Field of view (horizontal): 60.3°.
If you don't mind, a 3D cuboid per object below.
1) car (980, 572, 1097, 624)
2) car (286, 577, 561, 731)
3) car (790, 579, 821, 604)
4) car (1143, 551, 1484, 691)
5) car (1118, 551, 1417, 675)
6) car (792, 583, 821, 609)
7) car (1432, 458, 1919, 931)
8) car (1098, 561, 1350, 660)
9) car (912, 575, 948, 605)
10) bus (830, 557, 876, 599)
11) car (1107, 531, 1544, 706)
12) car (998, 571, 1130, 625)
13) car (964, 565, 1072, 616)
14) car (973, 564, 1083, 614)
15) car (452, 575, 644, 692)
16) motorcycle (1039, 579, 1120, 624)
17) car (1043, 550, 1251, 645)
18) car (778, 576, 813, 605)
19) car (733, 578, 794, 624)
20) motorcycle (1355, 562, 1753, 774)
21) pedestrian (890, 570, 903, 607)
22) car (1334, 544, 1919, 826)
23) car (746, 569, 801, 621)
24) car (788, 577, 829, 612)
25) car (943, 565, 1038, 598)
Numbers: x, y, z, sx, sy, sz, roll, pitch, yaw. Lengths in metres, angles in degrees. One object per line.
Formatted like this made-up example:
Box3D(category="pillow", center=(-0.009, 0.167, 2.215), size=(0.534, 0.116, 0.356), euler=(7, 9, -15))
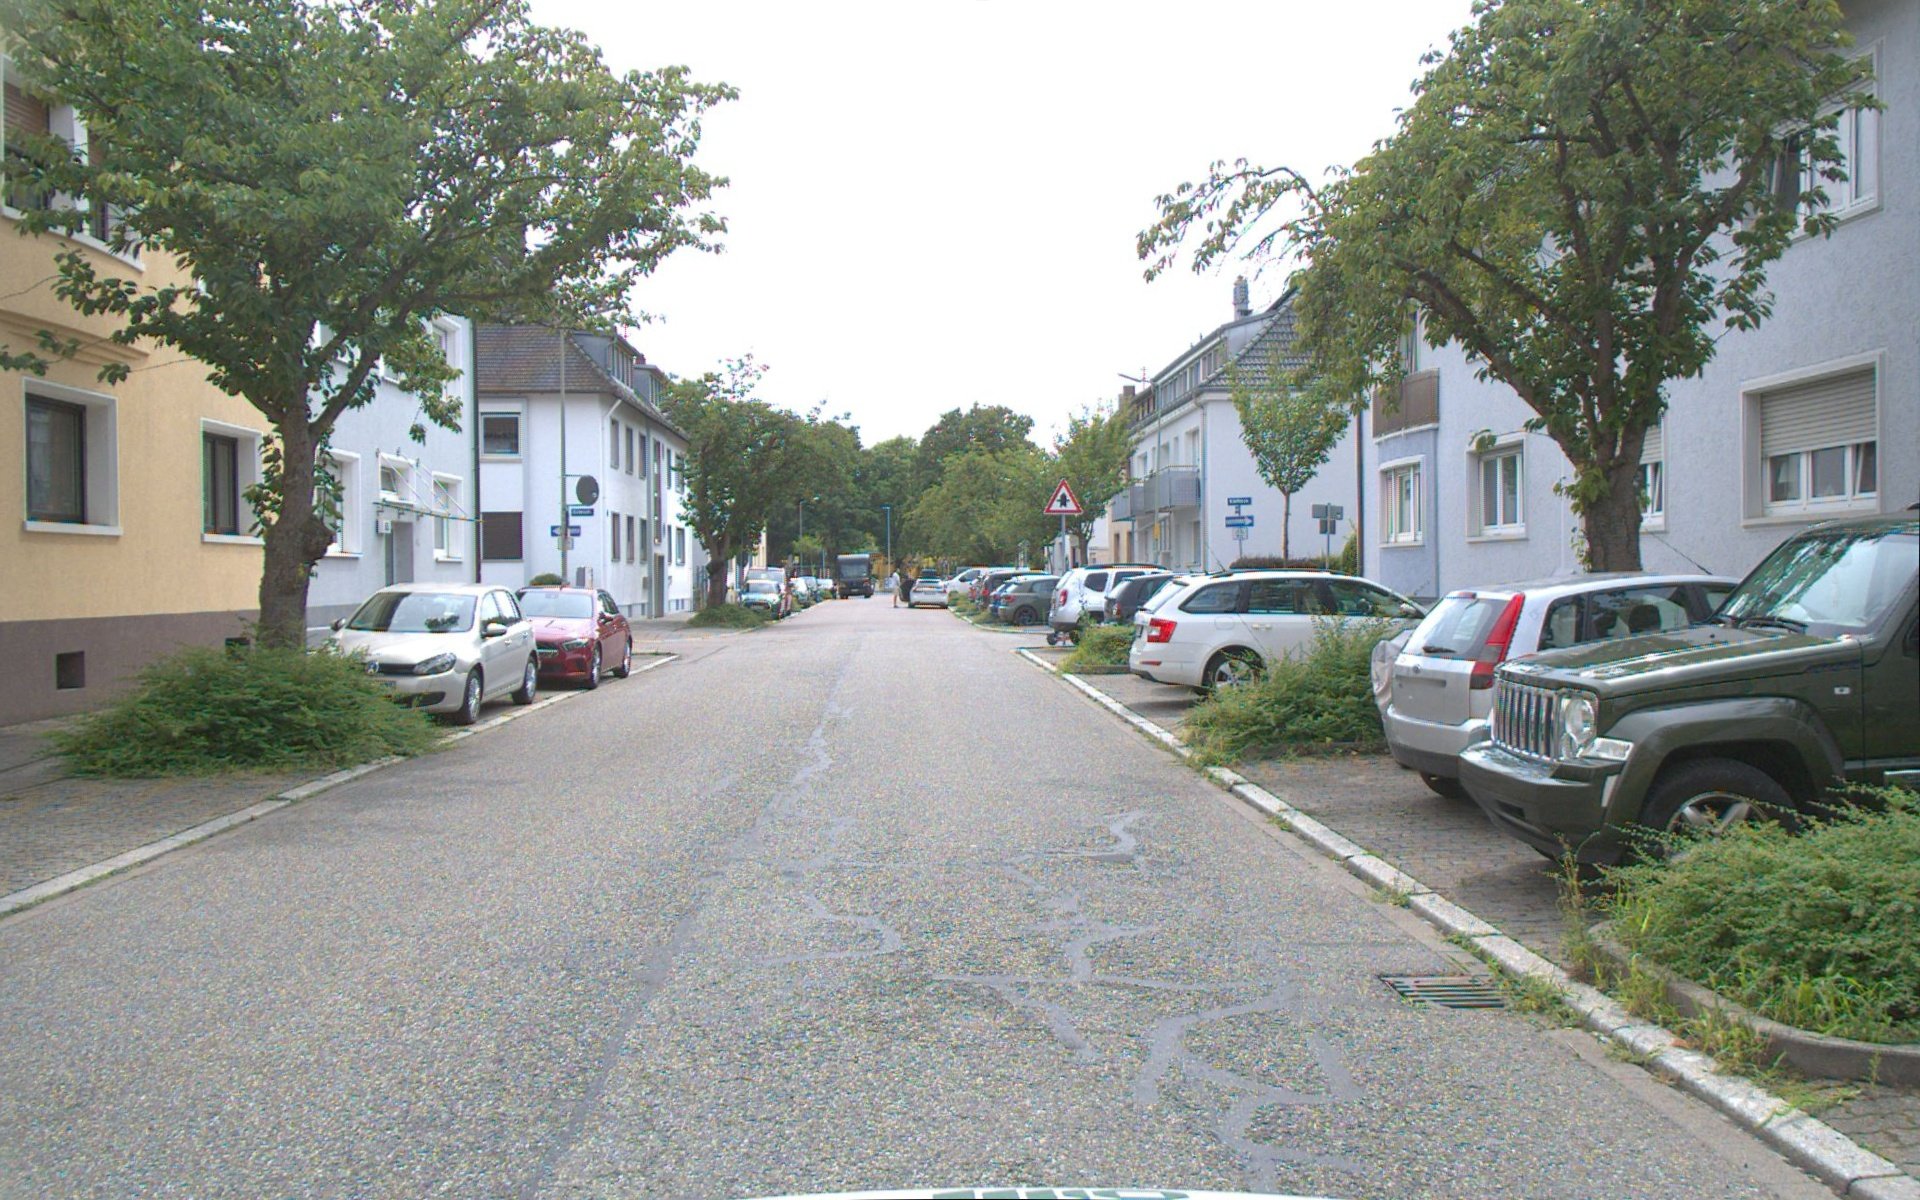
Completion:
Box3D(category="car", center=(2.398, -0.078, 51.142), size=(3.447, 1.437, 1.558), euler=(-3, 1, -2))
Box3D(category="car", center=(-5.963, 0.527, 18.950), size=(1.736, 1.416, 4.274), euler=(5, 1, -1))
Box3D(category="car", center=(-9.329, -0.510, 99.907), size=(1.618, 1.401, 3.720), euler=(-3, 1, -3))
Box3D(category="car", center=(4.436, 0.240, 21.117), size=(3.907, 1.534, 1.712), euler=(-3, 1, -2))
Box3D(category="car", center=(4.360, 0.164, 23.840), size=(3.907, 1.534, 1.712), euler=(-3, 1, -2))
Box3D(category="car", center=(-8.425, -0.251, 91.038), size=(1.508, 1.324, 3.718), euler=(-3, 1, -4))
Box3D(category="car", center=(4.709, 0.312, 7.737), size=(4.433, 1.890, 1.793), euler=(-3, 1, 0))
Box3D(category="car", center=(4.420, 0.164, 28.042), size=(3.907, 1.446, 1.712), euler=(-3, 1, -2))
Box3D(category="car", center=(-1.470, -0.501, 80.297), size=(1.653, 1.377, 3.826), euler=(-3, 1, -1))
Box3D(category="bus", center=(-7.692, -1.618, 120.050), size=(2.943, 2.809, 8.921), euler=(-3, 1, -2))
Box3D(category="car", center=(4.066, 0.184, 18.943), size=(4.521, 1.693, 1.892), euler=(-3, 1, -1))
Box3D(category="car", center=(3.019, -0.065, 48.455), size=(3.672, 1.389, 1.773), euler=(-3, 1, -1))
Box3D(category="car", center=(2.043, -0.348, 58.987), size=(3.672, 1.591, 1.773), euler=(-3, 1, -1))
Box3D(category="car", center=(2.493, -0.428, 61.542), size=(3.906, 1.646, 1.867), euler=(-3, 1, -2))
Box3D(category="car", center=(-6.049, 0.422, 24.841), size=(1.839, 1.512, 4.510), euler=(-3, 1, -2))
Box3D(category="motorcycle", center=(3.316, 0.036, 46.082), size=(2.150, 1.232, 0.939), euler=(-1, 1, -4))
Box3D(category="car", center=(3.663, -0.063, 32.859), size=(3.844, 1.661, 1.867), euler=(-3, 1, -1))
Box3D(category="car", center=(-8.531, -0.524, 85.968), size=(1.619, 1.401, 3.718), euler=(-3, 1, -4))
Box3D(category="car", center=(-7.398, 0.011, 62.690), size=(1.727, 1.581, 3.731), euler=(-3, 1, 1))
Box3D(category="motorcycle", center=(4.455, 0.478, 12.523), size=(2.648, 1.489, 1.030), euler=(-1, 1, -6))
Box3D(category="pedestrian", center=(-3.070, -0.565, 79.522), size=(0.511, 1.734, 0.444), euler=(-2, 0, 1))
Box3D(category="car", center=(4.427, 0.464, 10.580), size=(3.555, 1.480, 1.771), euler=(-3, 1, -6))
Box3D(category="car", center=(-7.700, -0.220, 68.737), size=(1.954, 2.049, 4.518), euler=(-1, 1, -3))
Box3D(category="car", center=(-6.801, -0.261, 74.363), size=(1.618, 1.487, 3.550), euler=(-3, 1, -3))
Box3D(category="car", center=(1.615, -1.004, 88.811), size=(4.877, 1.545, 1.767), euler=(-3, 1, -4))
